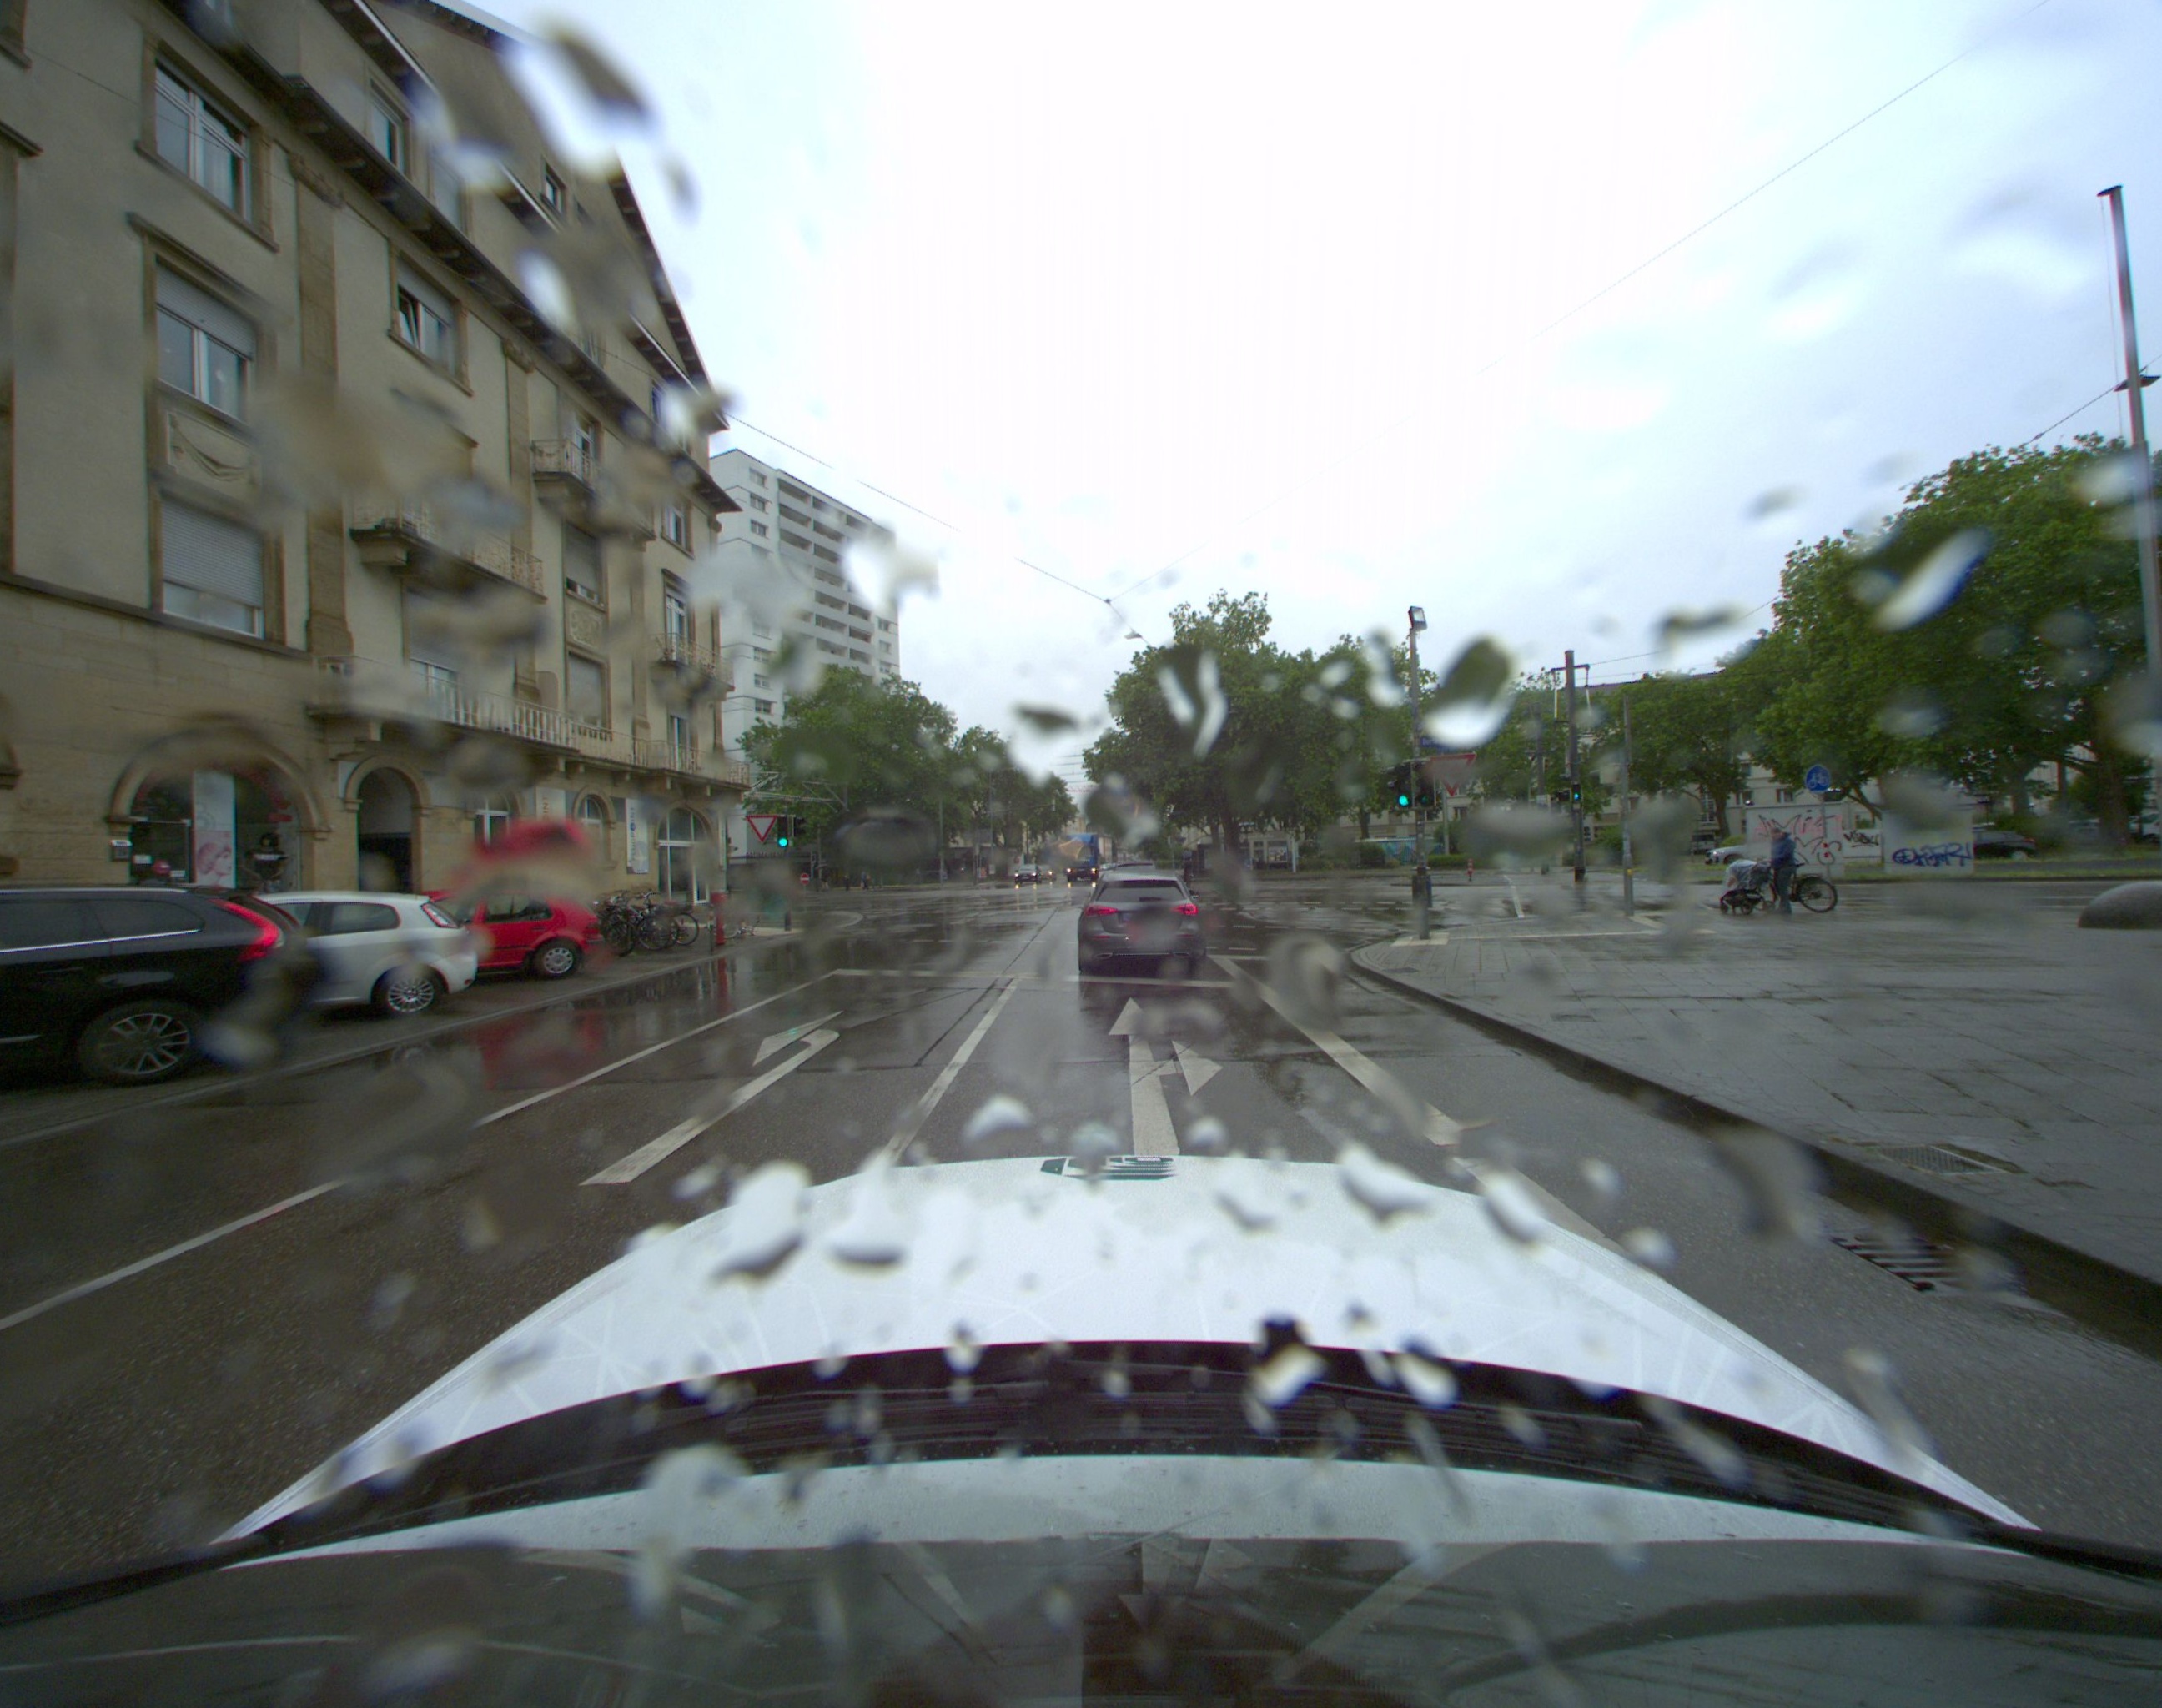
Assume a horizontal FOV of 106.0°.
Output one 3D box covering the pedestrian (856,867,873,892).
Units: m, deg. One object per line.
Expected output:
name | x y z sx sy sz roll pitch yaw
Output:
pedestrian | -15.196 1.794 57.225 0.785 1.648 0.820 -4 -1 17

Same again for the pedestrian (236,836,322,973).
pedestrian | -14.156 0.868 14.382 0.838 2.340 0.768 -3 -1 24

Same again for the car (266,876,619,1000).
car | -9.518 1.124 12.432 4.021 1.508 1.782 0 -1 -42

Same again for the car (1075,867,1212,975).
car | 0.892 0.916 12.511 1.784 1.372 3.508 -1 -1 2

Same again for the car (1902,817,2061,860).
car | 37.951 -0.637 34.469 4.127 1.599 1.789 -3 0 25

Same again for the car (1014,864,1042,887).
car | -3.956 1.598 61.281 1.737 1.546 3.780 -3 -1 1

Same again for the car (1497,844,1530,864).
car | 35.124 -0.018 66.191 1.649 1.521 3.695 -3 -1 17

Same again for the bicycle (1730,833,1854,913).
bicycle | 14.064 0.369 16.184 0.531 1.466 1.935 -2 -1 -8

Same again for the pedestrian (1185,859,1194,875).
pedestrian | 11.596 1.354 87.245 0.665 1.669 0.714 -2 -1 -19

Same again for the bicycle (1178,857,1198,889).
bicycle | 4.952 0.864 37.587 0.745 1.377 2.714 -3 -1 9

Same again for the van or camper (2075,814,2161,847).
van or camper | 55.688 -1.257 42.371 4.615 1.599 2.011 -3 -1 22

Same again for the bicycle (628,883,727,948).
bicycle | -8.973 1.366 18.136 1.967 1.330 0.438 -3 -1 3

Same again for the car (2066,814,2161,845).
car | 60.654 -1.439 47.331 3.950 1.590 1.682 -3 -1 26

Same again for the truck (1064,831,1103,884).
truck | 0.326 0.326 69.179 2.835 4.025 10.319 -3 -1 2

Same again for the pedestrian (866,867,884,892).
pedestrian | -14.135 1.728 55.821 0.828 1.648 0.759 -4 -1 17

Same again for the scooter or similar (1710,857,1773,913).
scooter or similar | 13.176 0.603 16.277 0.511 1.048 0.925 -3 0 4

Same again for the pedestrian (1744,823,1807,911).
pedestrian | 13.606 0.249 15.976 0.600 1.663 0.690 -3 0 5

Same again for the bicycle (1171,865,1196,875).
bicycle | 13.957 2.178 110.918 3.213 1.112 1.048 -2 -5 -17

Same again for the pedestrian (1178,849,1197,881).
pedestrian | 4.921 0.508 37.506 0.740 1.398 1.049 -3 -1 9

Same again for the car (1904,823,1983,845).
car | 69.281 -1.590 65.506 3.949 1.452 1.687 -3 -1 27

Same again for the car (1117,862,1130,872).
car | 7.159 2.248 137.400 1.986 1.574 4.000 -2 -1 1

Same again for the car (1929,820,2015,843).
car | 66.847 -1.645 61.168 3.949 1.452 1.687 -3 -1 27

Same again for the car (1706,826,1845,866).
car | 31.671 -0.341 37.322 4.499 1.599 1.802 -3 0 25

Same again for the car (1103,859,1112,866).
car | 6.900 2.305 212.780 1.880 1.836 4.006 -3 -1 6

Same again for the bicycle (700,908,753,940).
bicycle | -8.562 1.678 19.656 1.045 0.663 1.464 1 -2 -29

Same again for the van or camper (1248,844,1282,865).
van or camper | 21.467 0.028 94.818 2.373 2.231 5.463 -3 -1 30

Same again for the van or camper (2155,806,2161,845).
van or camper | 55.489 -1.515 38.910 4.615 1.915 2.011 -3 -1 22

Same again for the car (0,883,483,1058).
car | -9.482 1.176 9.502 4.013 1.533 1.685 0 0 -38

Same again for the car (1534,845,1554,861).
car | 47.130 -0.107 82.871 1.535 1.467 3.386 -3 -3 27

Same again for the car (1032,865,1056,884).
car | -3.198 1.744 71.487 1.720 1.546 4.341 -3 -1 1

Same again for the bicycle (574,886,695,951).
bicycle | -10.217 1.465 18.695 2.335 1.346 0.639 -2 -1 -3

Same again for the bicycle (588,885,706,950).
bicycle | -10.278 1.497 19.335 2.335 1.346 0.639 -3 -1 -4

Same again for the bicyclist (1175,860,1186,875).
bicyclist | 13.509 1.866 110.754 0.940 1.869 1.136 -2 -5 -16

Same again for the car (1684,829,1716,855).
car | 58.074 -1.061 76.419 1.535 2.204 4.122 -3 -3 27

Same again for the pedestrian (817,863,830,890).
pedestrian | -17.404 1.524 55.127 0.681 1.838 0.634 -3 -1 -26

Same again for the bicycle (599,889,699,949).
bicycle | -9.031 1.354 17.054 1.804 1.185 0.468 1 -1 -1

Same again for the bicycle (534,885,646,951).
bicycle | -10.971 1.417 18.228 2.053 1.346 0.584 -2 -1 -4

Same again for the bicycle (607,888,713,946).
bicycle | -9.073 1.359 17.575 1.974 1.185 0.475 1 -1 -2

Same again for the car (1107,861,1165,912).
car | 1.654 0.943 25.347 1.601 1.372 4.002 -3 -1 2

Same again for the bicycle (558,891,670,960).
bicycle | -8.922 1.351 15.580 1.800 1.184 0.601 2 0 7

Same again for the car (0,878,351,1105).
car | -9.050 1.107 6.923 4.104 1.692 1.744 0 -1 -38

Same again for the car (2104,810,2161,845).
car | 58.381 -1.501 43.547 4.210 1.779 1.748 -3 -1 22

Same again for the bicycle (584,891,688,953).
bicycle | -9.021 1.367 16.539 1.804 1.185 0.475 2 -1 0
